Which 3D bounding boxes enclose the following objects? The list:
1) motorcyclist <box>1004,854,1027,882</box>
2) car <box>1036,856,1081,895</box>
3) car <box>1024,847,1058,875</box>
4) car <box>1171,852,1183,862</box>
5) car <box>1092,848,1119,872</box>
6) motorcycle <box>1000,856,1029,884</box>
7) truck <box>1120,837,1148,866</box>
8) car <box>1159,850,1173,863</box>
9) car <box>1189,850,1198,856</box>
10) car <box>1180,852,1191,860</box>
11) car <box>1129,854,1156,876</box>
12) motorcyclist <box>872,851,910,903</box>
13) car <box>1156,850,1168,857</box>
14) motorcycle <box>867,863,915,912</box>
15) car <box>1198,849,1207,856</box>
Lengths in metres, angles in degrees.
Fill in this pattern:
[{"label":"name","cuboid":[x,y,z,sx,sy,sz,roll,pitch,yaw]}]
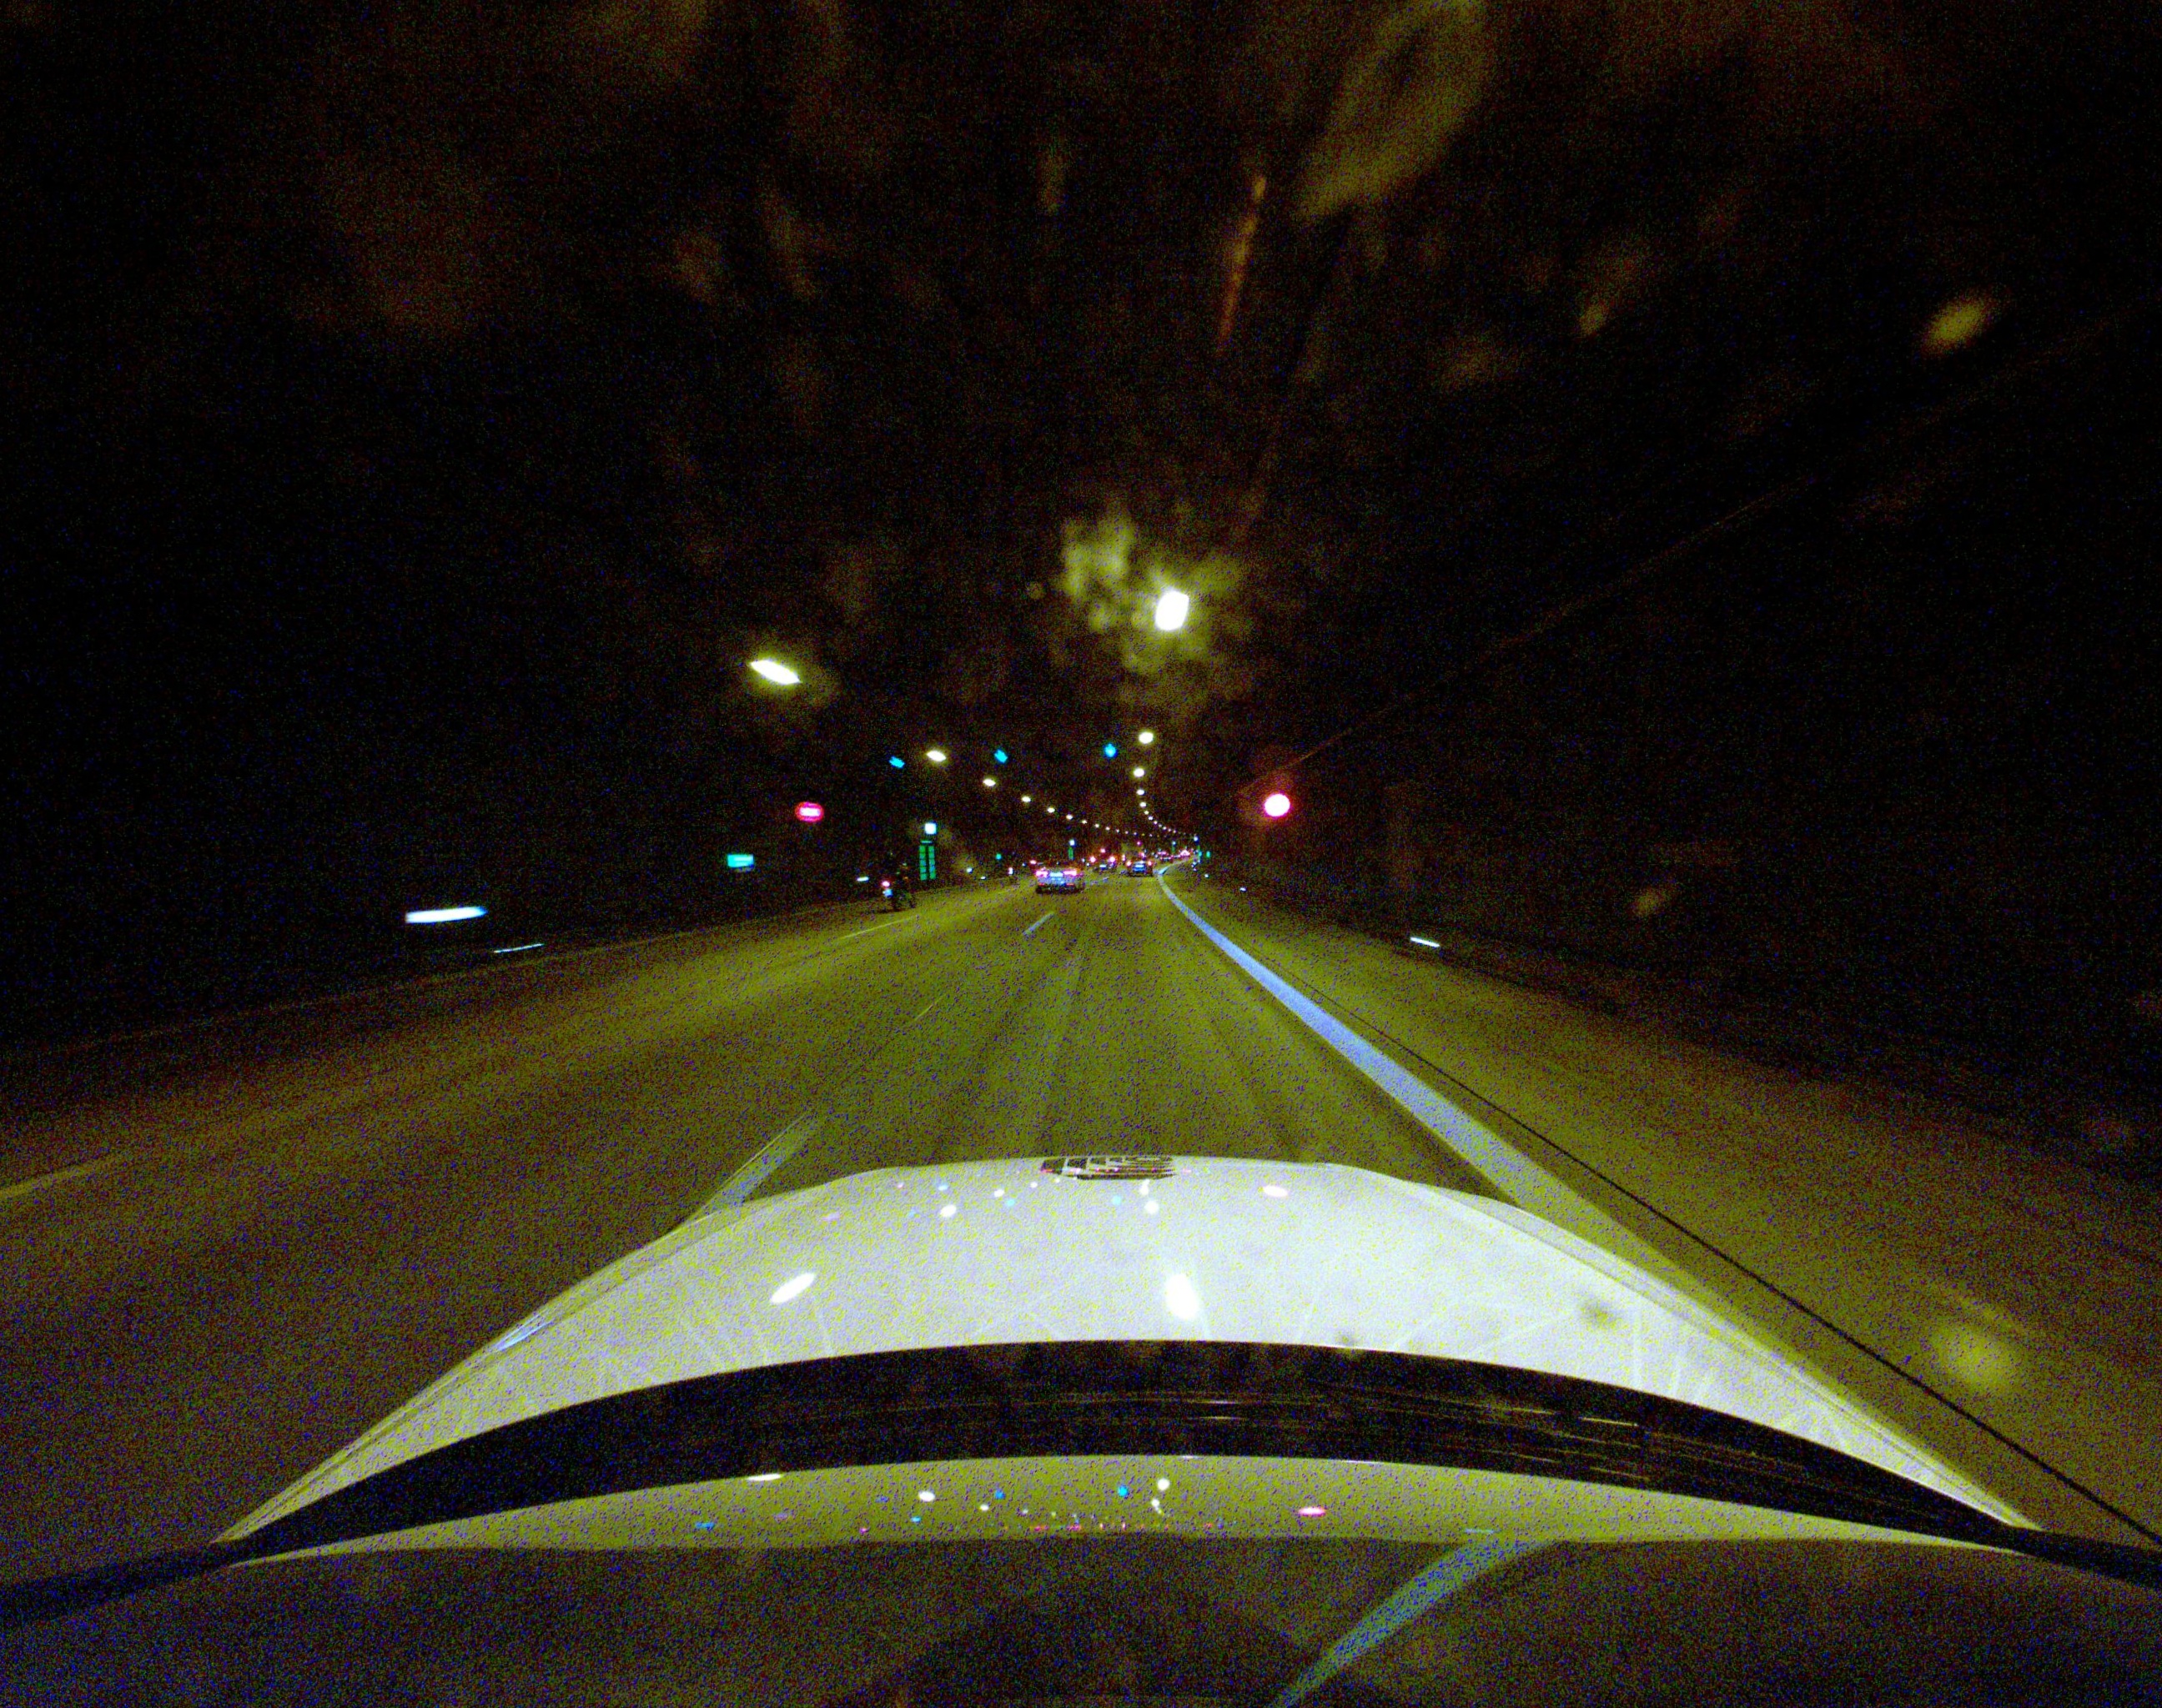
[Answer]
[{"label":"motorcyclist","cuboid":[-3.524,0.744,44.053,0.801,1.448,1.870,-1,0,9]},{"label":"car","cuboid":[-0.887,0.842,34.505,1.696,1.419,5.061,-1,1,0]},{"label":"car","cuboid":[-2.983,0.515,61.375,1.983,2.013,4.007,-1,0,6]},{"label":"car","cuboid":[17.091,0.489,145.464,1.938,1.772,4.010,-1,-1,9]},{"label":"car","cuboid":[2.164,0.485,70.960,1.899,1.944,3.880,-1,2,7]},{"label":"motorcycle","cuboid":[-3.559,0.851,44.013,0.921,1.434,2.971,0,0,9]},{"label":"truck","cuboid":[7.229,-0.340,110.491,3.020,3.673,7.413,-1,0,10]},{"label":"car","cuboid":[12.314,0.378,117.523,1.846,1.854,4.009,-1,0,8]},{"label":"car","cuboid":[28.834,-0.255,208.958,1.917,1.642,4.014,-1,-1,13]},{"label":"car","cuboid":[23.067,0.386,179.701,1.918,1.642,4.013,-1,-1,11]},{"label":"car","cuboid":[4.356,0.819,57.361,1.733,1.464,3.876,1,-2,6]},{"label":"motorcyclist","cuboid":[-5.403,0.645,23.263,0.774,1.452,1.070,0,-1,3]},{"label":"car","cuboid":[18.174,-0.125,182.466,1.915,1.642,4.017,-1,-1,17]},{"label":"motorcycle","cuboid":[-5.395,0.934,23.277,0.680,1.297,2.401,-1,0,3]},{"label":"car","cuboid":[29.622,-0.390,198.753,1.980,1.632,4.014,-1,-1,12]}]
